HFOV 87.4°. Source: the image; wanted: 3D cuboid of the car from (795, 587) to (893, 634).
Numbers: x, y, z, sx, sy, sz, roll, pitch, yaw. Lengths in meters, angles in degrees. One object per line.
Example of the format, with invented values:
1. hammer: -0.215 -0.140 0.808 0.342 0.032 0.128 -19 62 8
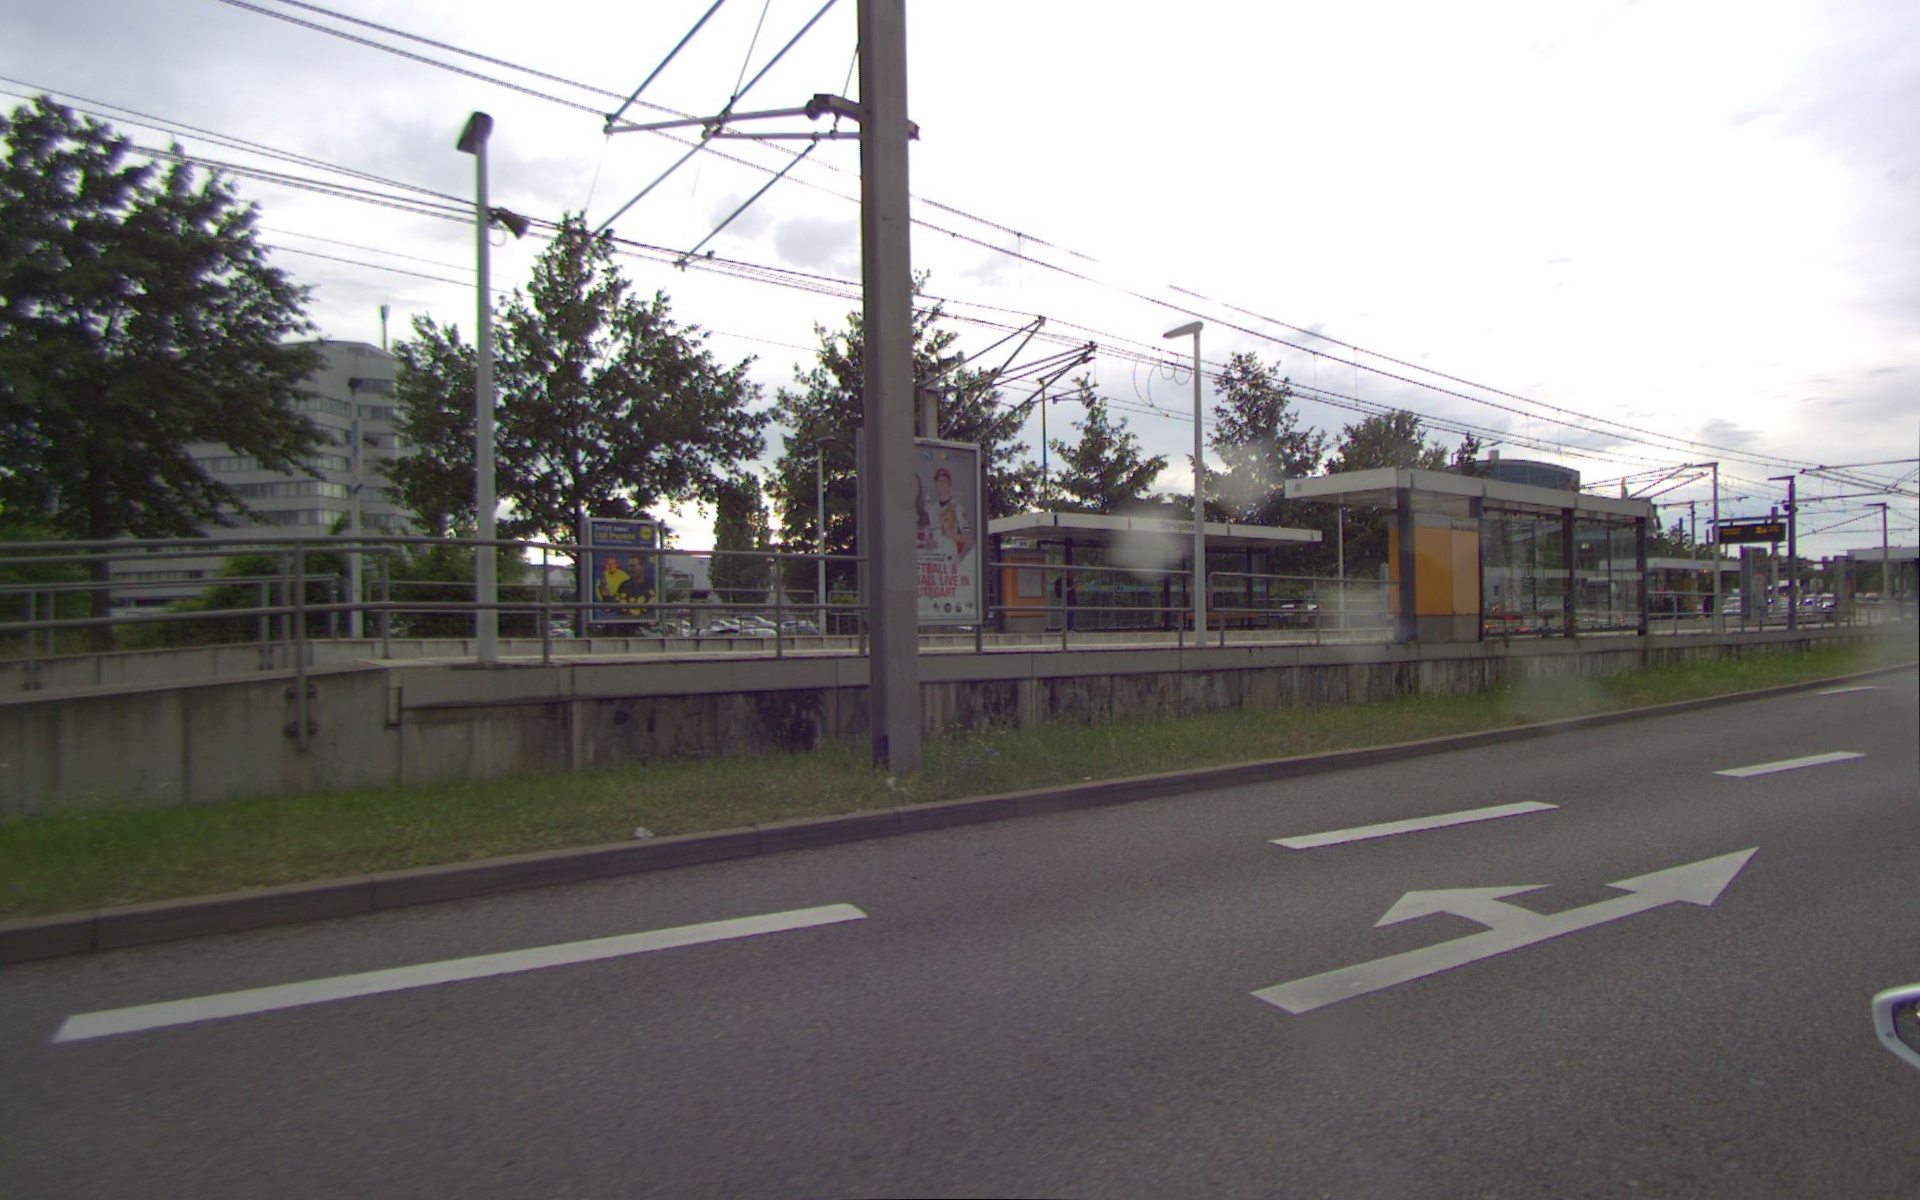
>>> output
1. car: -5.202 0.423 45.266 3.957 2.041 1.982 0 1 -33

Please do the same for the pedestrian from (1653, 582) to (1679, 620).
1. pedestrian: 32.295 0.044 45.938 0.823 1.738 0.724 2 -1 -35

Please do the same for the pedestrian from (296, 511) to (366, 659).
1. pedestrian: -8.719 -0.192 13.924 0.658 1.978 0.544 4 -2 -39

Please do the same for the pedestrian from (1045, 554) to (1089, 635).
1. pedestrian: 2.588 -0.125 24.225 0.744 1.878 0.632 4 -2 -36

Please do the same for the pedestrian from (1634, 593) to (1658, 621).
1. pedestrian: 32.166 0.326 47.121 0.725 1.269 0.721 2 -1 -37

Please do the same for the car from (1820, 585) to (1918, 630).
1. car: 33.800 0.235 37.328 3.809 1.472 1.980 -3 2 -36

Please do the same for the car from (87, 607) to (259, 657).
1. car: -25.574 1.048 32.837 1.959 1.433 4.003 3 -2 13

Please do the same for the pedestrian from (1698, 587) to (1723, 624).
1. pedestrian: 36.442 0.274 48.773 0.756 1.774 0.747 4 -2 -35

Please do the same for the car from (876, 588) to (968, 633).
1. car: -1.786 0.449 47.569 3.957 2.041 1.982 0 1 -33

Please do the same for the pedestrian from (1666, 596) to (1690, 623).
1. pedestrian: 34.837 0.471 48.743 0.725 1.269 0.721 2 -1 -37

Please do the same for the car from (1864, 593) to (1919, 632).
1. car: 39.336 0.549 41.672 3.811 1.472 1.980 3 -1 -36

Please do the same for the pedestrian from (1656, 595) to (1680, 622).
1. pedestrian: 34.041 0.415 48.310 0.725 1.269 0.721 2 -1 -37

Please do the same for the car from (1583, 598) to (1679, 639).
1. car: 23.942 0.628 35.812 3.301 1.354 1.846 -1 1 -36
